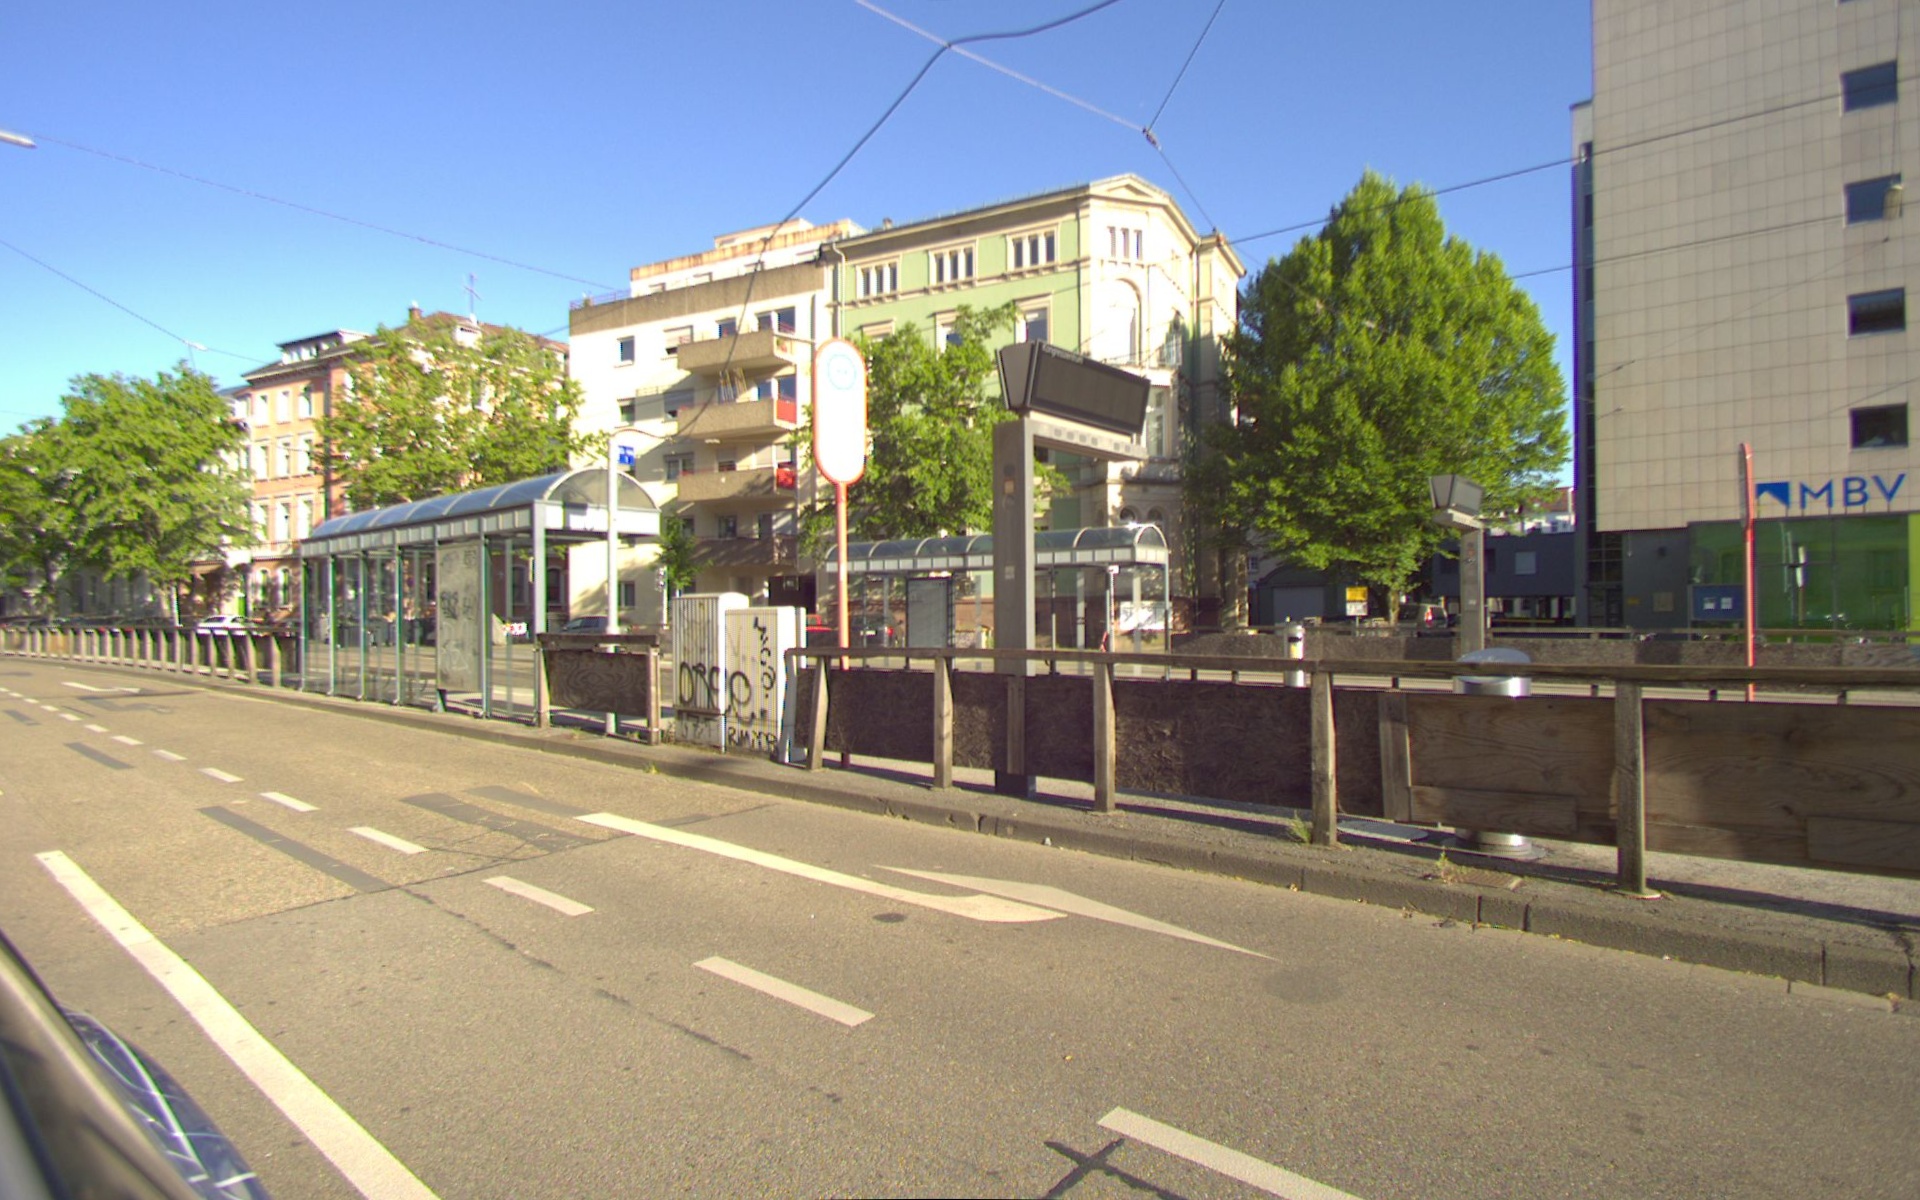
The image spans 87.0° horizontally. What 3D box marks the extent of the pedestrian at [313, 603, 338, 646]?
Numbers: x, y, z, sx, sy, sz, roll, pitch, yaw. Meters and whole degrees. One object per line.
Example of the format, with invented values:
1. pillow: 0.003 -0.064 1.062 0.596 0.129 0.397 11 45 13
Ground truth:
1. pedestrian: -33.146 1.276 52.860 0.753 2.224 0.804 -1 -2 30

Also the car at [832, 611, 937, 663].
1. car: -2.441 1.191 33.543 1.754 1.594 3.965 -1 -1 26

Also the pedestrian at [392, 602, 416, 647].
1. pedestrian: -27.904 1.209 50.789 0.753 2.224 0.804 -1 -2 30

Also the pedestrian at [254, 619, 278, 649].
1. pedestrian: -38.438 1.855 56.046 0.853 1.641 0.894 0 -1 -19

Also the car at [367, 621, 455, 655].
1. car: -23.705 1.600 43.666 3.986 1.407 1.592 -1 -2 32

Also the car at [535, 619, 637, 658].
1. car: -14.303 1.455 38.690 3.725 1.438 1.637 -1 -1 29

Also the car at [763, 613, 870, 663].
1. car: -4.842 1.263 34.594 1.754 1.594 3.965 -1 -1 26

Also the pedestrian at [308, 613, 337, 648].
1. pedestrian: -31.836 1.510 50.561 1.016 1.733 0.846 -1 -2 32

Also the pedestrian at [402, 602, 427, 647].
1. pedestrian: -27.087 1.198 50.232 0.753 2.224 0.804 -1 -2 30

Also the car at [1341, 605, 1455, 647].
1. car: 15.730 0.893 36.466 1.544 1.423 3.430 -1 0 -38

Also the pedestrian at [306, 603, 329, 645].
1. pedestrian: -34.215 1.290 53.881 0.755 2.224 0.803 -1 -2 36

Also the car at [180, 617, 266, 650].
1. car: -39.504 1.771 54.378 1.825 1.721 4.130 0 -1 -5
